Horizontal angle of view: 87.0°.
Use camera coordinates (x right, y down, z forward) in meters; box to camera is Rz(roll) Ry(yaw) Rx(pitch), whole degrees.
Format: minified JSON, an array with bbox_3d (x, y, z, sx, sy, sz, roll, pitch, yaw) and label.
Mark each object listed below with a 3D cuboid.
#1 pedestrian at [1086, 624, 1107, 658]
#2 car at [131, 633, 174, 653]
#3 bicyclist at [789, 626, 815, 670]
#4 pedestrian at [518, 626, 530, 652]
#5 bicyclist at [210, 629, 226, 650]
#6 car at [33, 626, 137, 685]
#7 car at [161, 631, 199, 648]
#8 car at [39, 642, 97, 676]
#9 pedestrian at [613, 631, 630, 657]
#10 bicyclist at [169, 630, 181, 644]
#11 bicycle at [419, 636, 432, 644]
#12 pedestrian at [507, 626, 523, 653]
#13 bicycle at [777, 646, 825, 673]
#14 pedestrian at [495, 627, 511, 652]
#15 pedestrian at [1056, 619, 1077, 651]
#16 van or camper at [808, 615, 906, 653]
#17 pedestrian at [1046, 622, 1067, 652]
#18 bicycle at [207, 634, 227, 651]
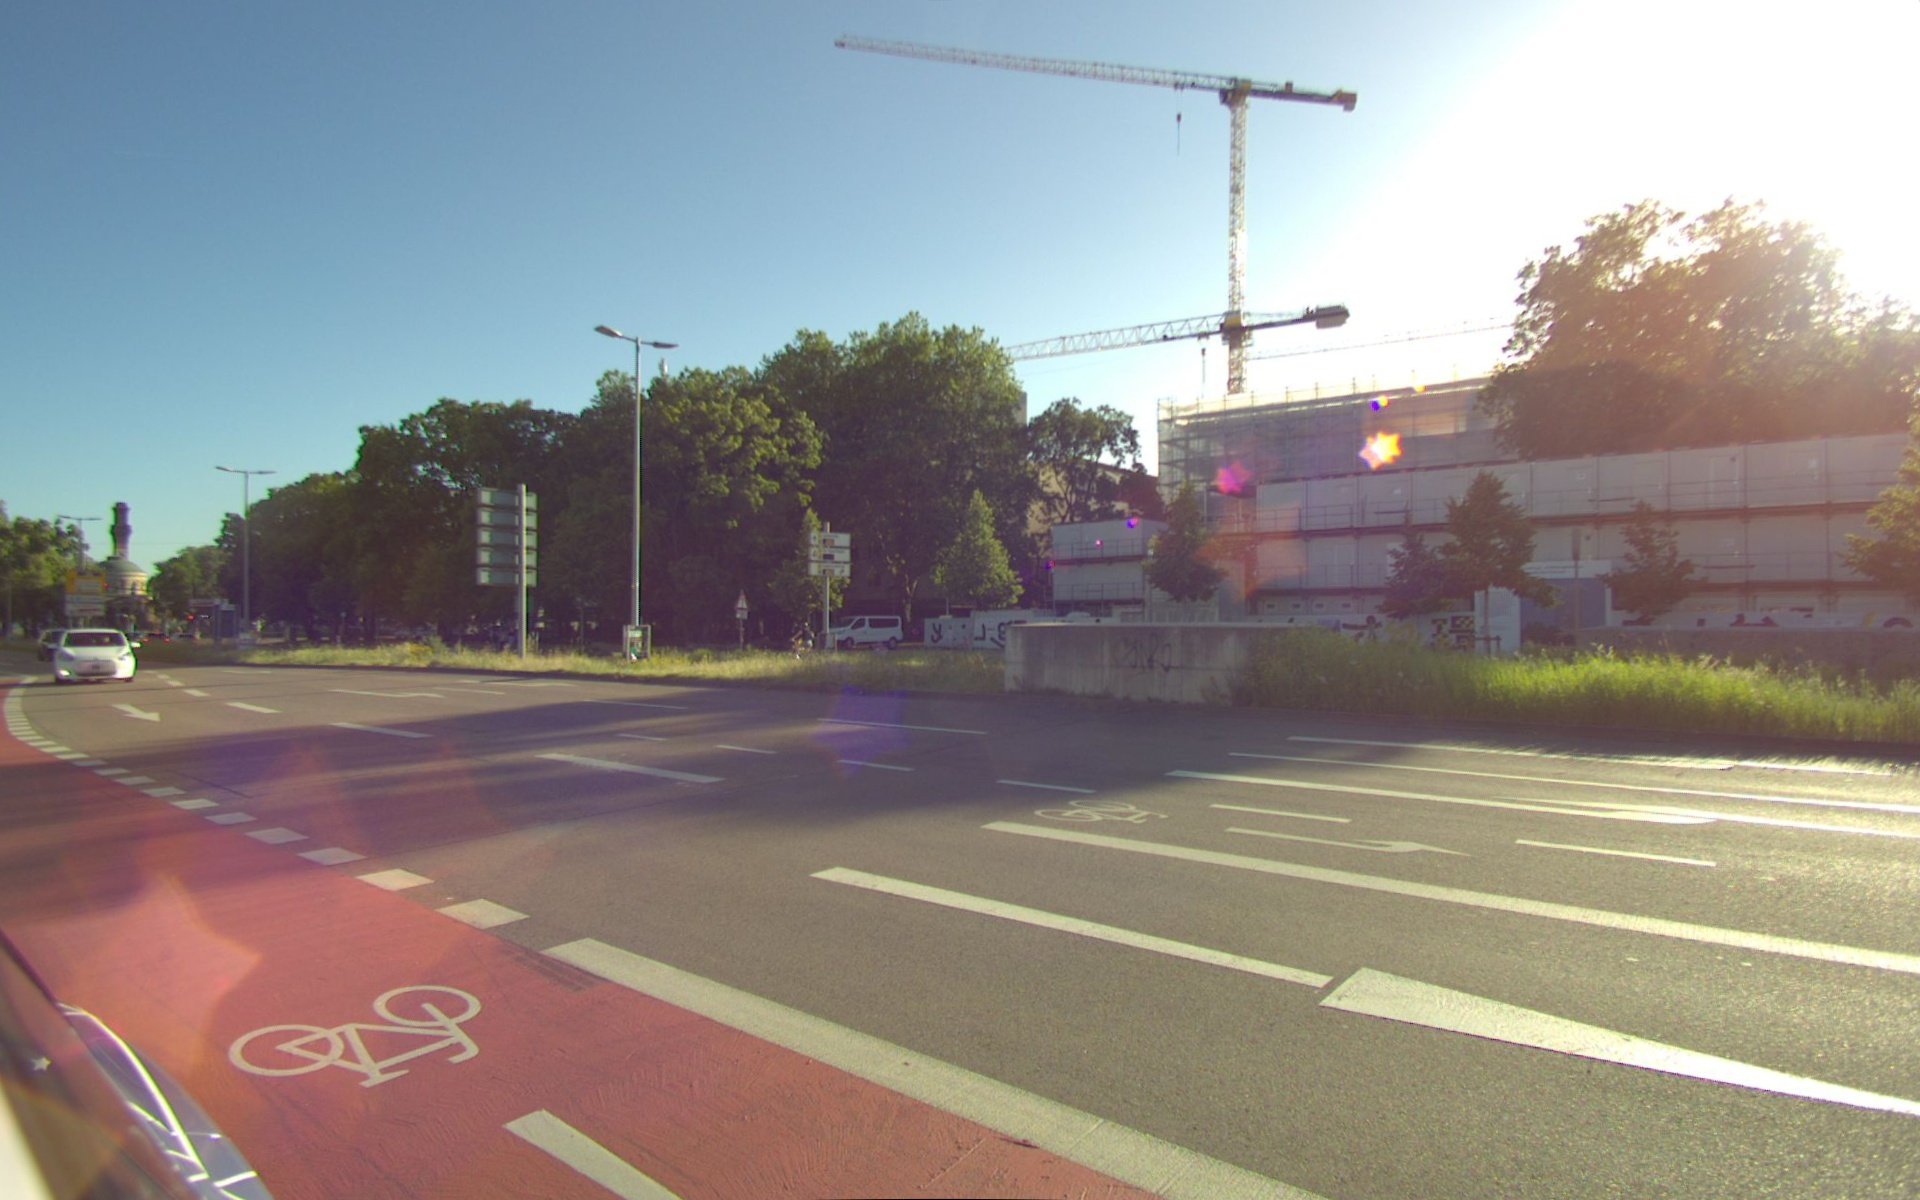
[{"bbox_3d":[6.907,2.048,51.152,0.834,1.701,0.574,-2,-3,38],"label":"pedestrian"},{"bbox_3d":[-66.166,3.520,82.871,4.057,1.576,1.973,-2,-2,40],"label":"car"},{"bbox_3d":[-5.471,1.656,35.013,0.600,1.500,0.681,2,-3,-45],"label":"bicyclist"},{"bbox_3d":[-29.284,2.623,67.939,0.655,1.754,0.518,-2,-3,43],"label":"pedestrian"},{"bbox_3d":[-59.672,3.159,81.366,1.201,1.602,0.739,1,-2,40],"label":"bicyclist"},{"bbox_3d":[-23.959,1.469,27.685,3.763,1.475,1.657,-2,-1,41],"label":"car"},{"bbox_3d":[-73.086,3.708,94.758,4.584,1.538,1.913,-2,-2,41],"label":"car"},{"bbox_3d":[-46.413,3.042,52.639,3.998,1.651,1.711,-2,-1,41],"label":"car"},{"bbox_3d":[-20.242,2.640,60.585,0.943,1.539,0.605,-3,-3,45],"label":"pedestrian"},{"bbox_3d":[-90.690,4.305,116.961,0.837,1.631,0.976,1,-2,-21],"label":"bicyclist"},{"bbox_3d":[-67.225,5.028,127.276,1.600,0.896,0.762,-1,-2,31],"label":"bicycle"},{"bbox_3d":[-29.672,2.623,67.476,0.761,1.754,0.763,-2,-3,43],"label":"pedestrian"},{"bbox_3d":[-5.529,2.055,35.066,0.605,0.868,1.952,2,-3,-45],"label":"bicycle"},{"bbox_3d":[-30.201,2.615,66.858,0.726,1.653,0.734,-2,-3,43],"label":"pedestrian"},{"bbox_3d":[5.170,1.697,49.214,0.834,1.570,0.574,-2,-3,38],"label":"pedestrian"},{"bbox_3d":[-5.937,1.988,59.024,2.256,2.029,5.604,1,-2,41],"label":"van or camper"},{"bbox_3d":[4.659,1.785,48.745,0.834,1.388,0.574,-2,-3,38],"label":"pedestrian"},{"bbox_3d":[-59.817,3.396,81.476,2.256,1.285,0.750,1,-2,39],"label":"bicycle"}]
